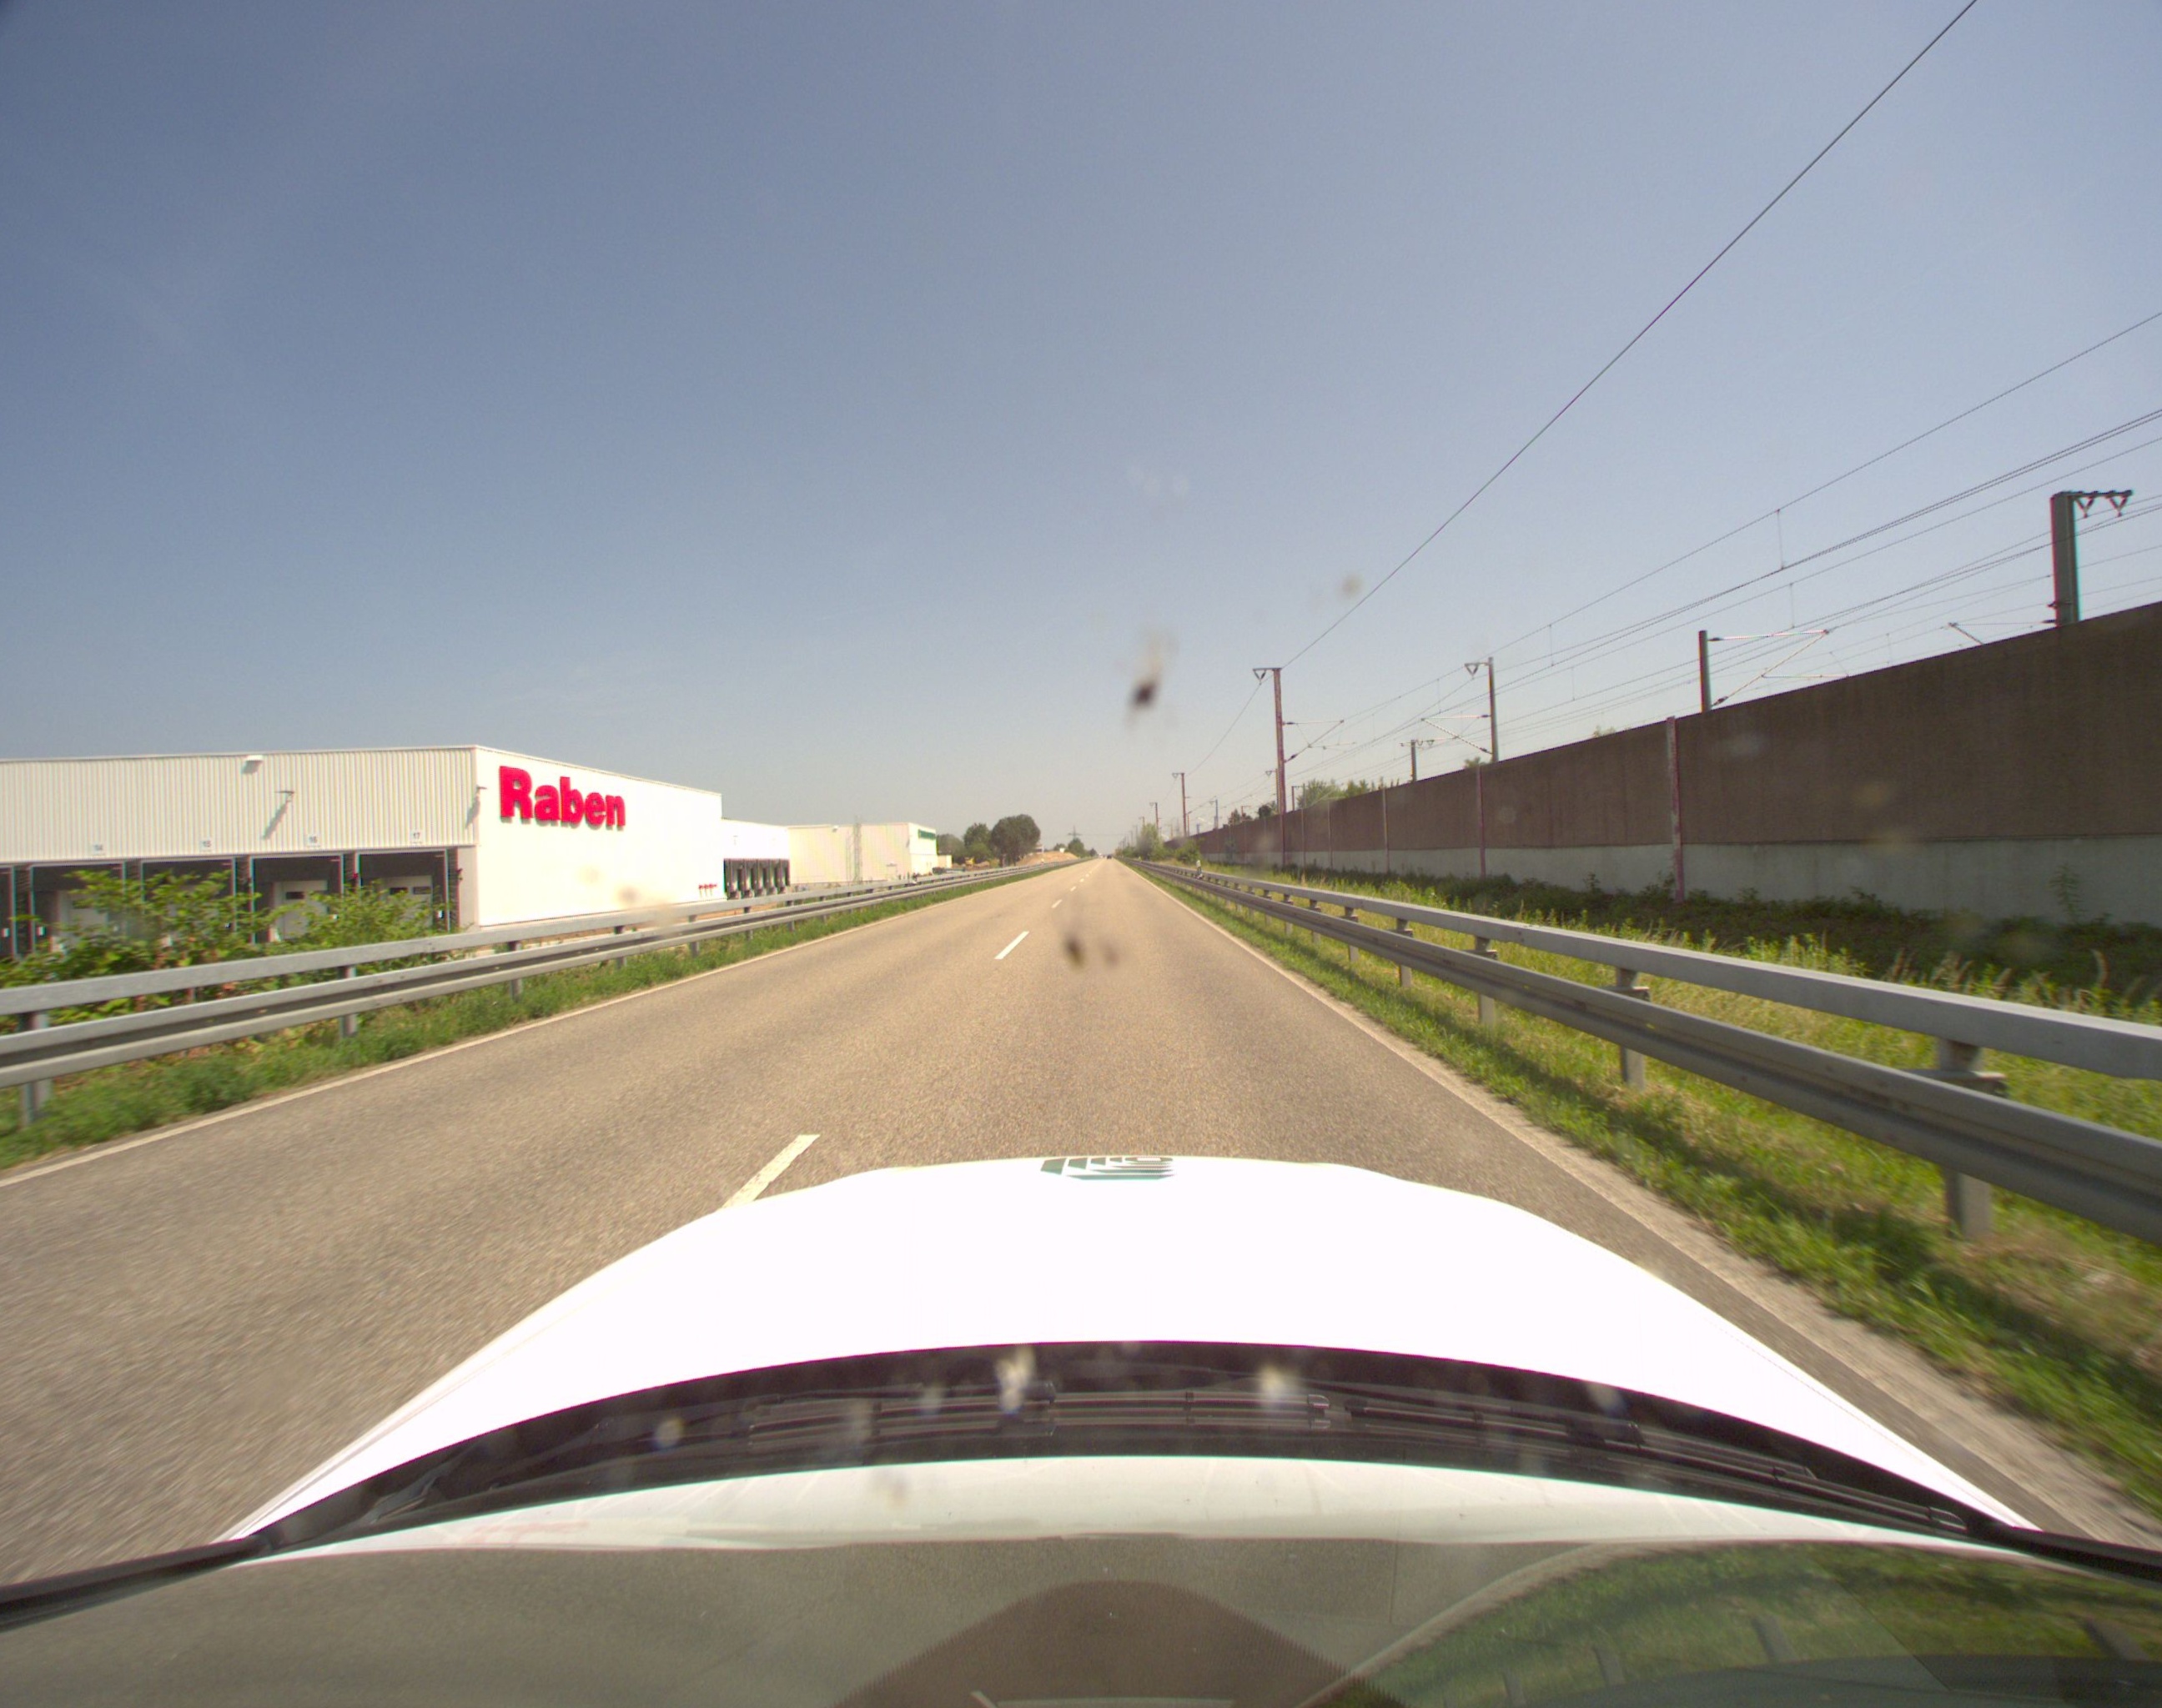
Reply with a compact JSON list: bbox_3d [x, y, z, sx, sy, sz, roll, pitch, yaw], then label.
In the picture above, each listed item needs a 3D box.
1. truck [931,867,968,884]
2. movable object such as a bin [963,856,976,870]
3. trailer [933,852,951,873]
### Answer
[{"bbox_3d":[-19.552,3.202,121.091,4.990,2.333,2.233,-1,0,1],"label":"truck"},{"bbox_3d":[-31.552,2.462,230.755,2.627,3.652,5.429,-4,0,-17],"label":"movable object such as a bin"},{"bbox_3d":[-30.329,1.889,178.072,2.672,4.332,7.946,-1,0,-2],"label":"trailer"}]
